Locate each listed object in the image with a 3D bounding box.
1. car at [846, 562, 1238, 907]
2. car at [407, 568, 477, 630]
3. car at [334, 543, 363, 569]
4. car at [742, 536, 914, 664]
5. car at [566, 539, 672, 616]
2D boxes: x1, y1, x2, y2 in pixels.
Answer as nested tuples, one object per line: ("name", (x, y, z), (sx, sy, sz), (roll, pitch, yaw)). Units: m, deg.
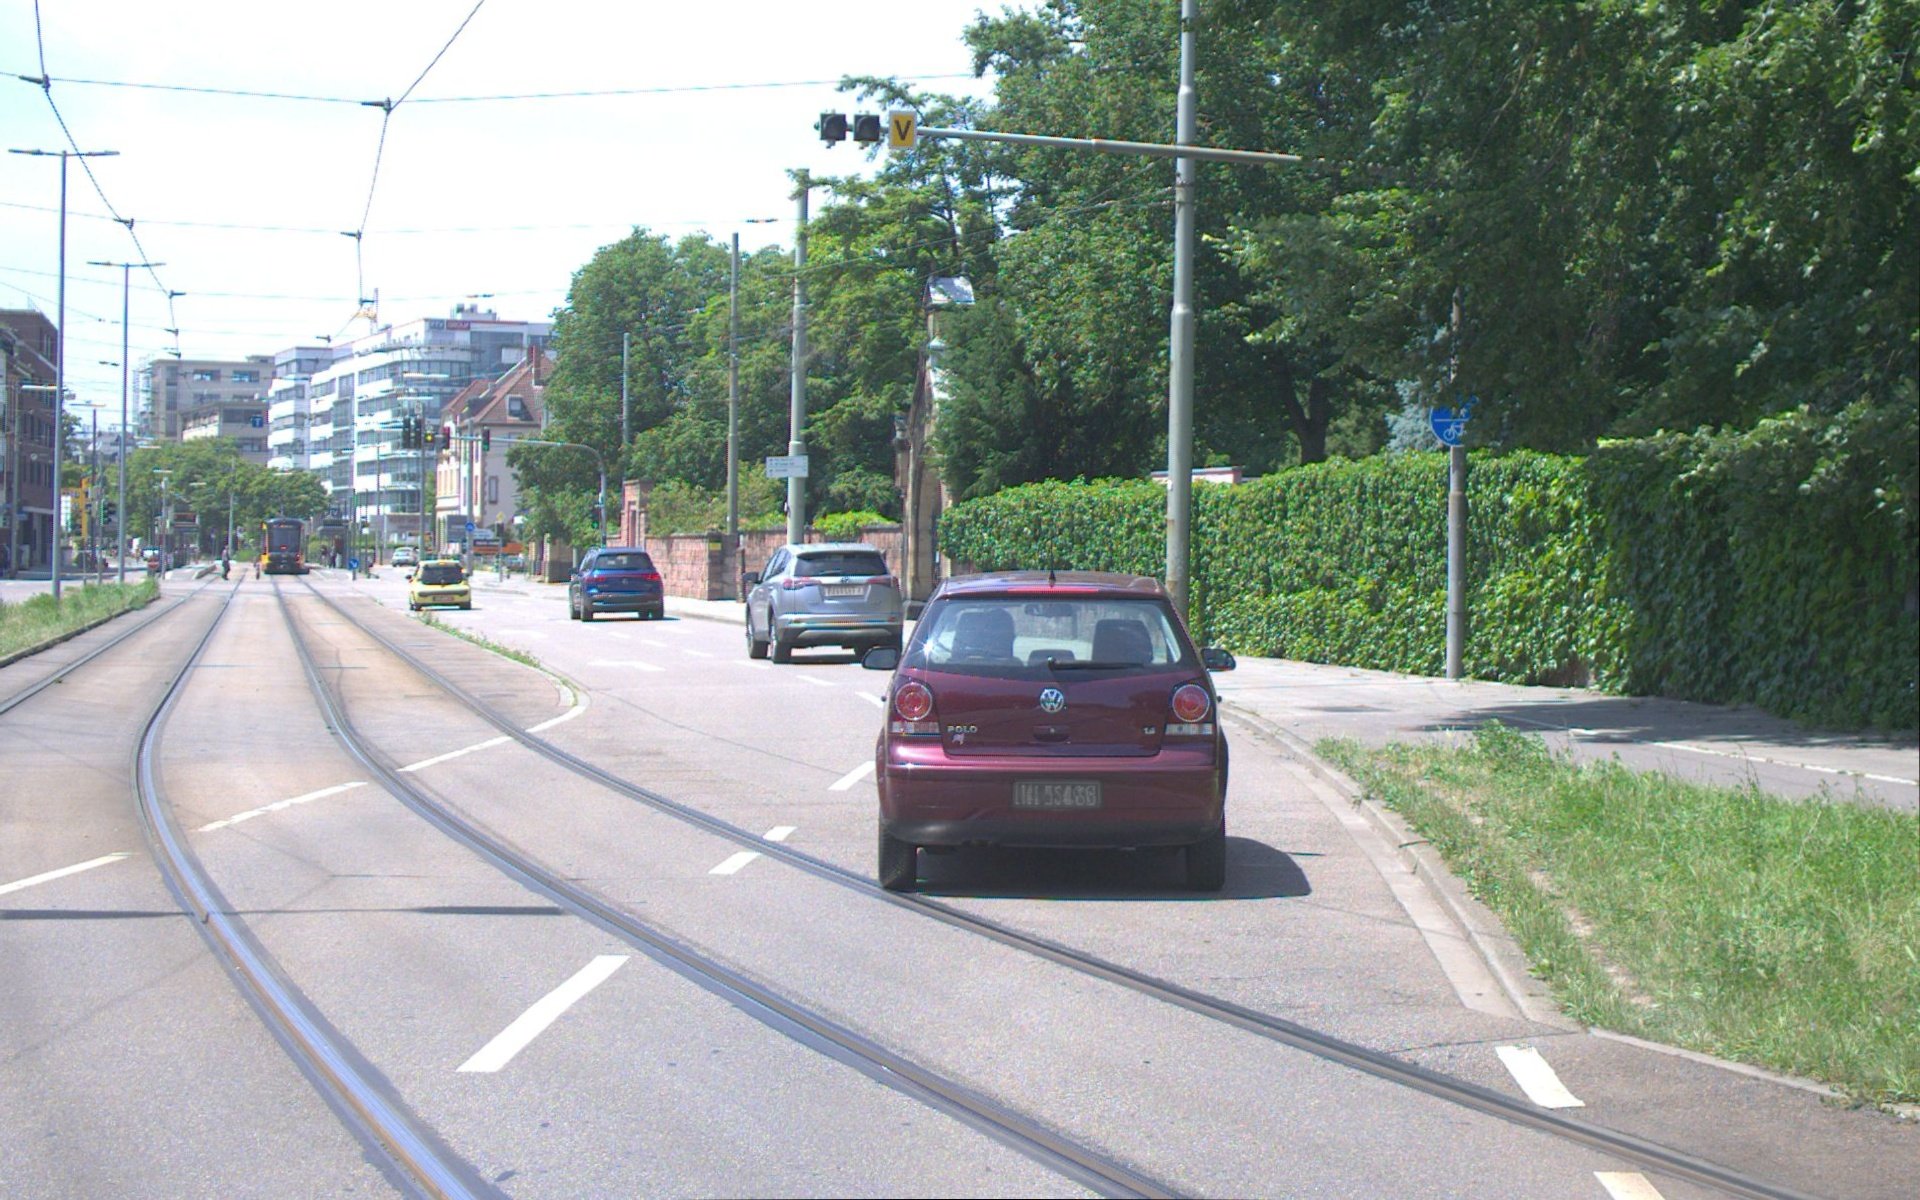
("car", (0.299, 0.569, 17.143), (1.609, 1.493, 4.001), (0, 1, -4))
("car", (-14.978, -0.041, 99.271), (1.795, 1.677, 4.001), (2, 1, -11))
("car", (-31.292, -2.270, 175.911), (1.353, 1.248, 2.973), (2, 1, -11))
("car", (-1.913, -0.029, 48.643), (1.795, 1.677, 4.001), (2, 1, -11))
("car", (-7.780, -0.533, 78.196), (1.773, 1.625, 4.001), (2, 1, -14))
